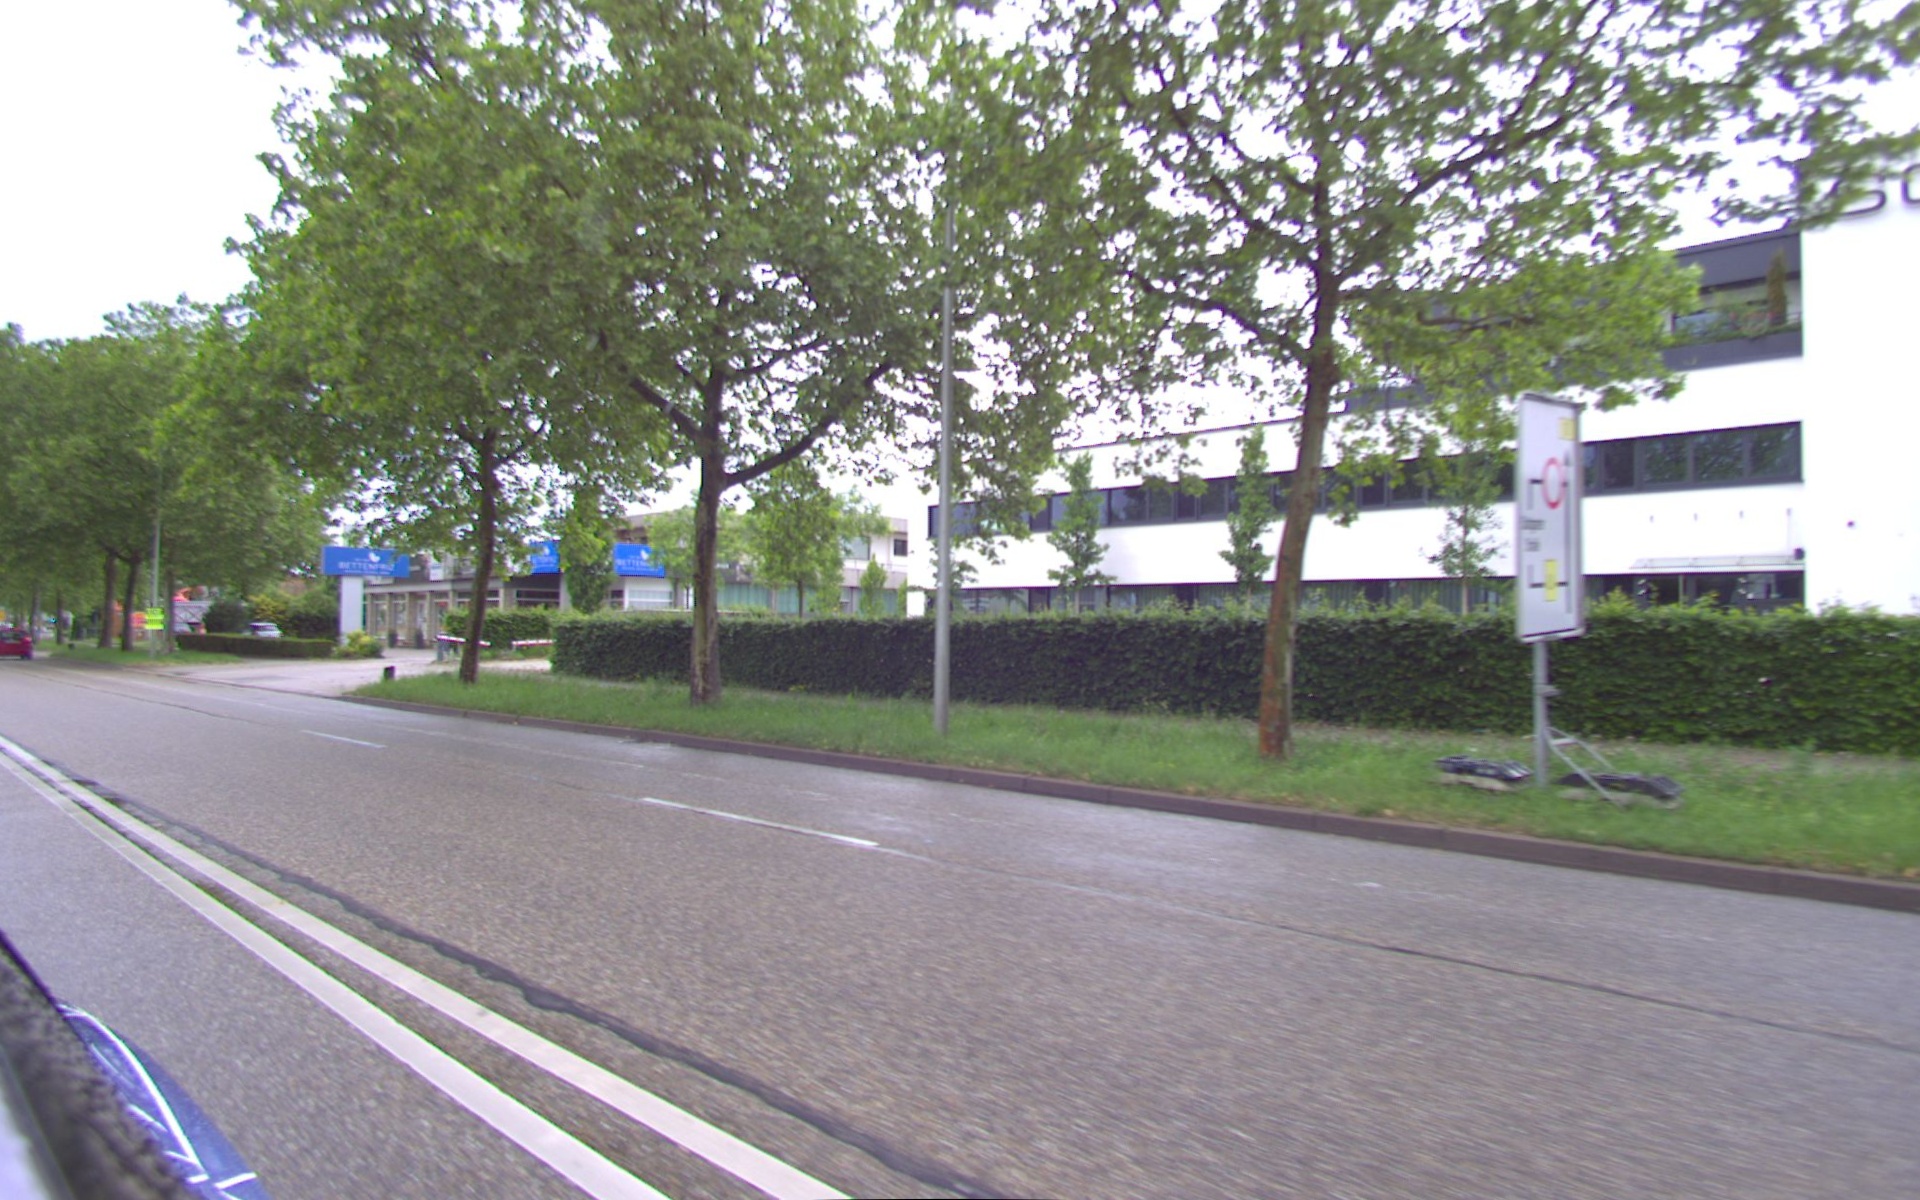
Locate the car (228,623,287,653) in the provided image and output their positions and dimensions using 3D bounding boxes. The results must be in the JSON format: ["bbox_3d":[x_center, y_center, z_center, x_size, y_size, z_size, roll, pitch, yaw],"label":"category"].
[{"bbox_3d":[-38.662,2.081,55.672,3.999,1.545,1.723,-1,-4,42],"label":"car"}]

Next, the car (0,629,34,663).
[{"bbox_3d":[-45.719,2.165,48.436,4.001,1.545,1.722,-1,-4,44],"label":"car"}]
